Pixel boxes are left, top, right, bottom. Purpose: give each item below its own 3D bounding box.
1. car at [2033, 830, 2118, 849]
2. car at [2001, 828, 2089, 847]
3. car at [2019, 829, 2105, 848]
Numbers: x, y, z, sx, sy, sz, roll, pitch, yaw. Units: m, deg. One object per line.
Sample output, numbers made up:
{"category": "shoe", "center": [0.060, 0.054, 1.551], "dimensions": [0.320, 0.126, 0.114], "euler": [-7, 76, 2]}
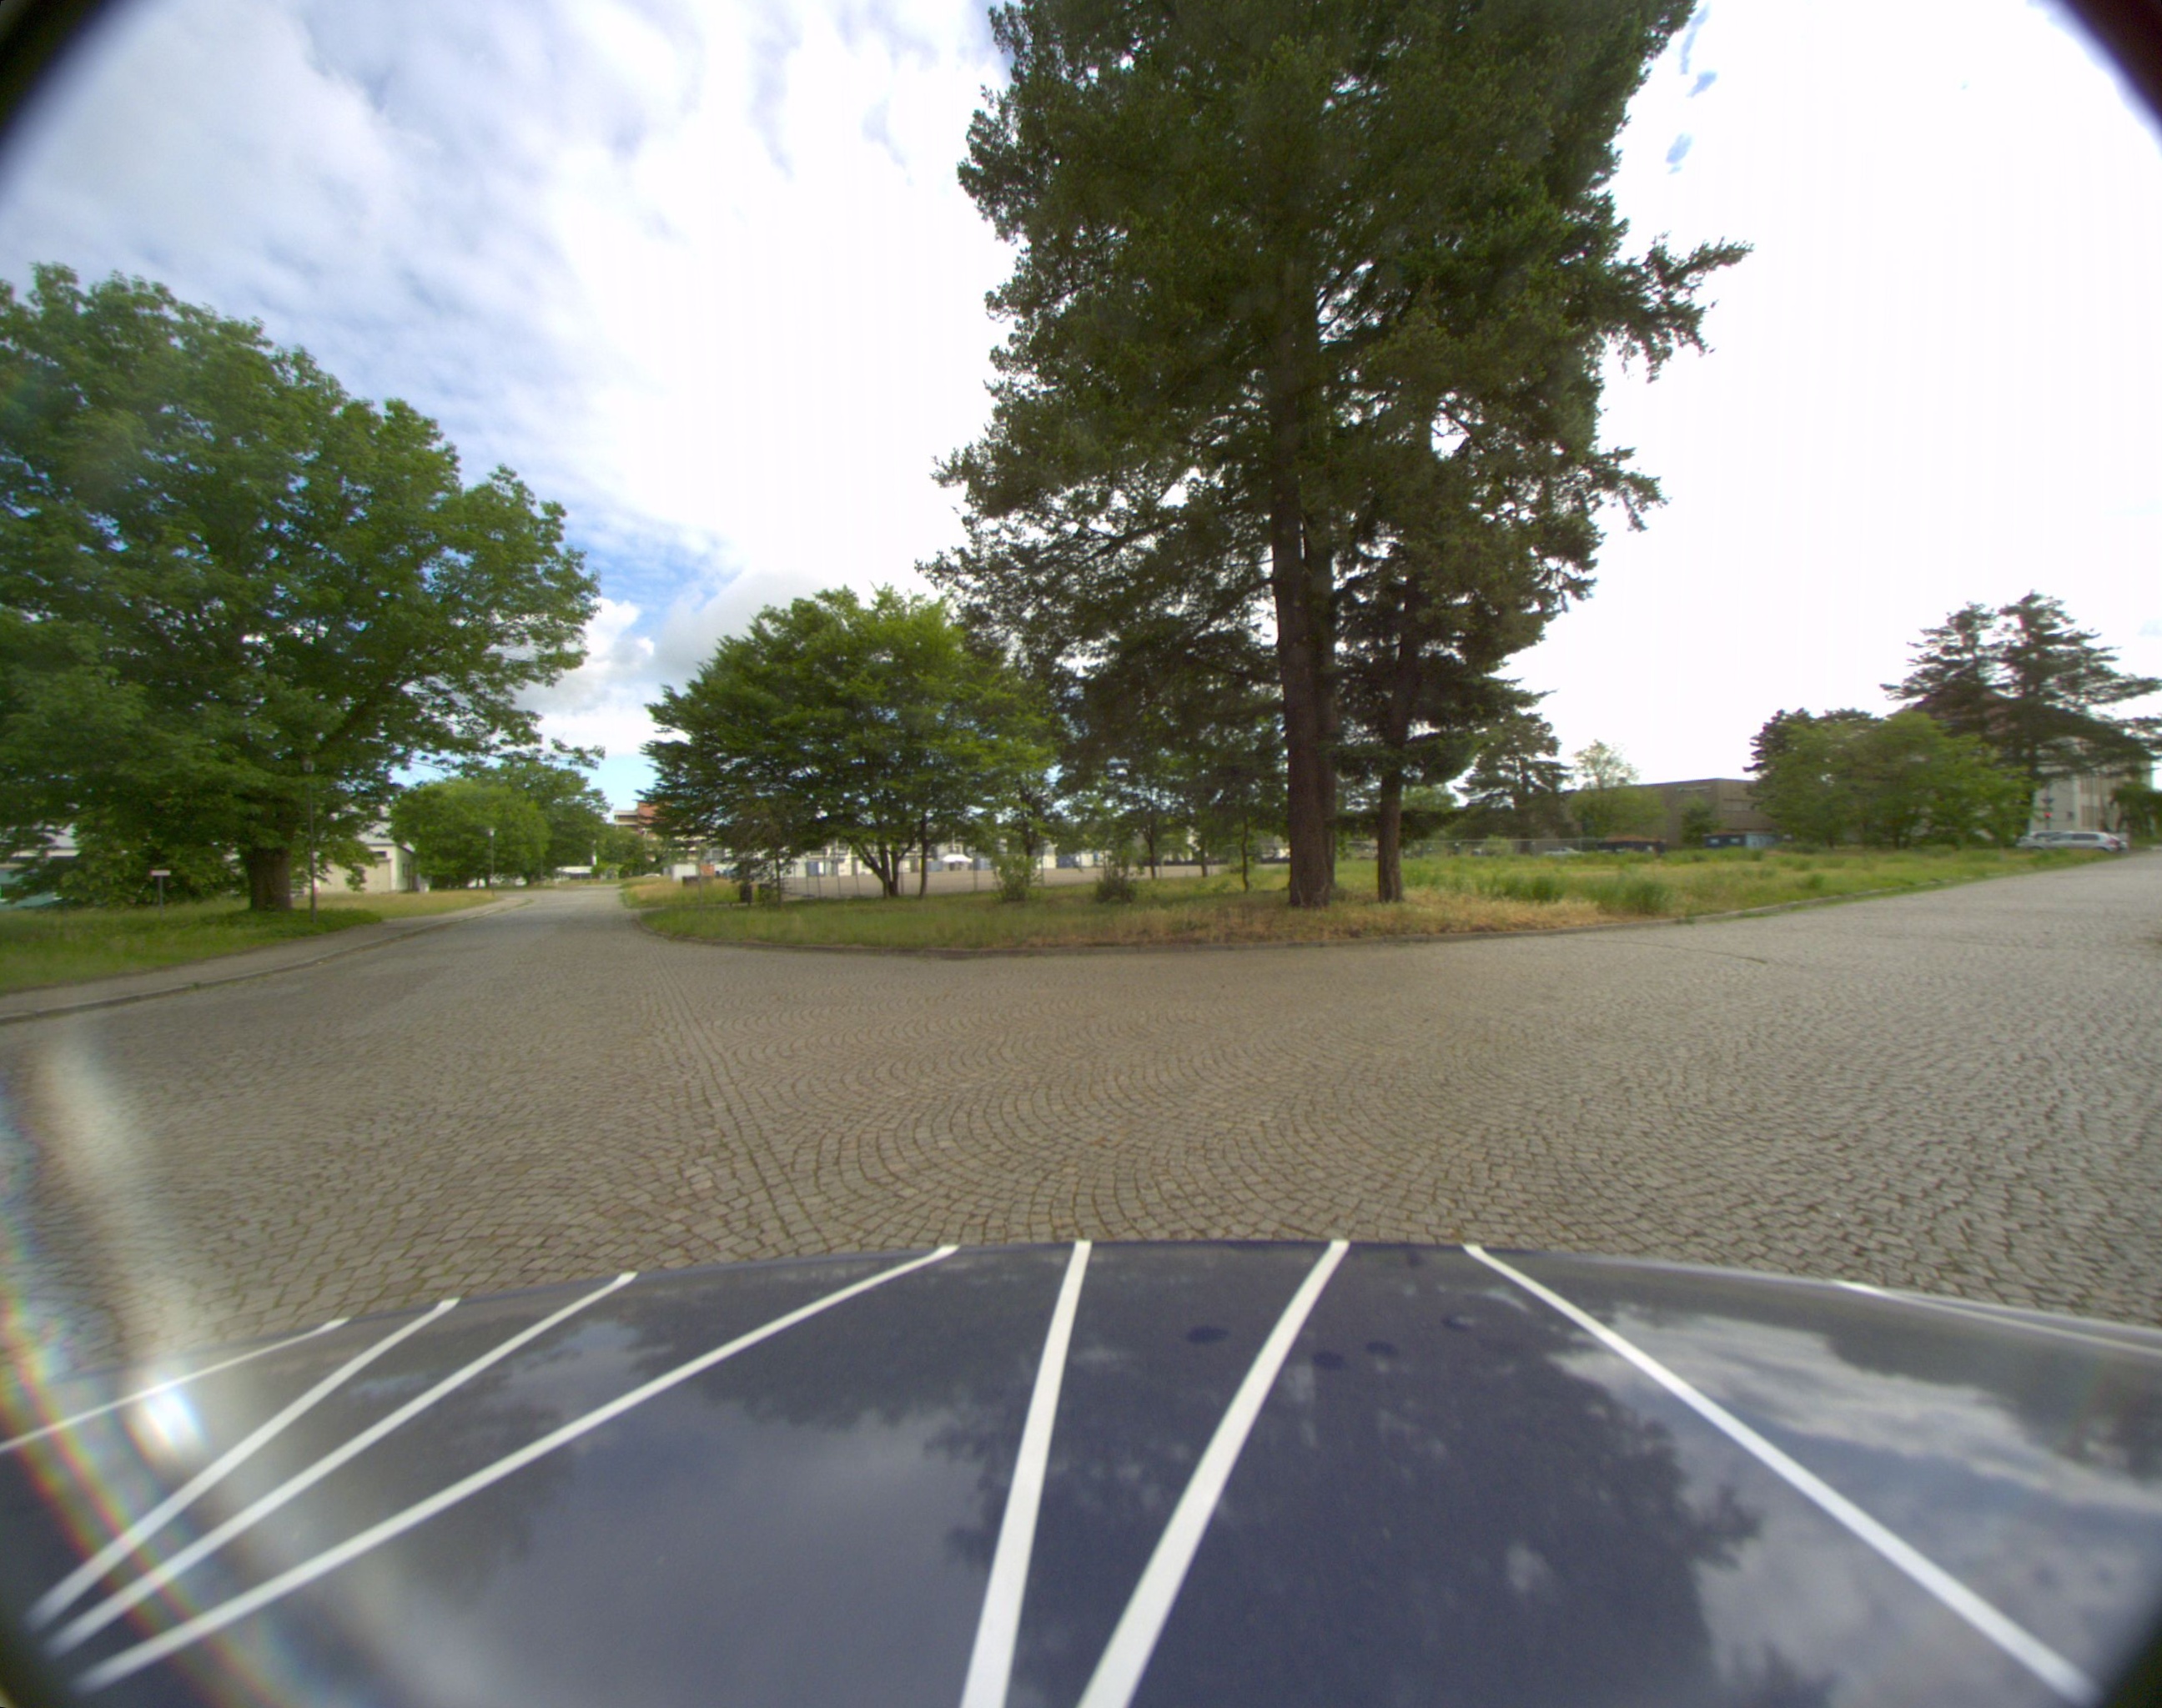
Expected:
{"category": "car", "center": [64.309, -0.939, 49.174], "dimensions": [1.399, 1.080, 3.261], "euler": [-2, 0, -35]}
{"category": "car", "center": [65.942, -1.117, 52.042], "dimensions": [1.586, 1.203, 3.587], "euler": [-2, 0, -32]}
{"category": "car", "center": [62.078, -0.954, 48.106], "dimensions": [1.452, 1.080, 3.261], "euler": [-2, 0, -35]}
